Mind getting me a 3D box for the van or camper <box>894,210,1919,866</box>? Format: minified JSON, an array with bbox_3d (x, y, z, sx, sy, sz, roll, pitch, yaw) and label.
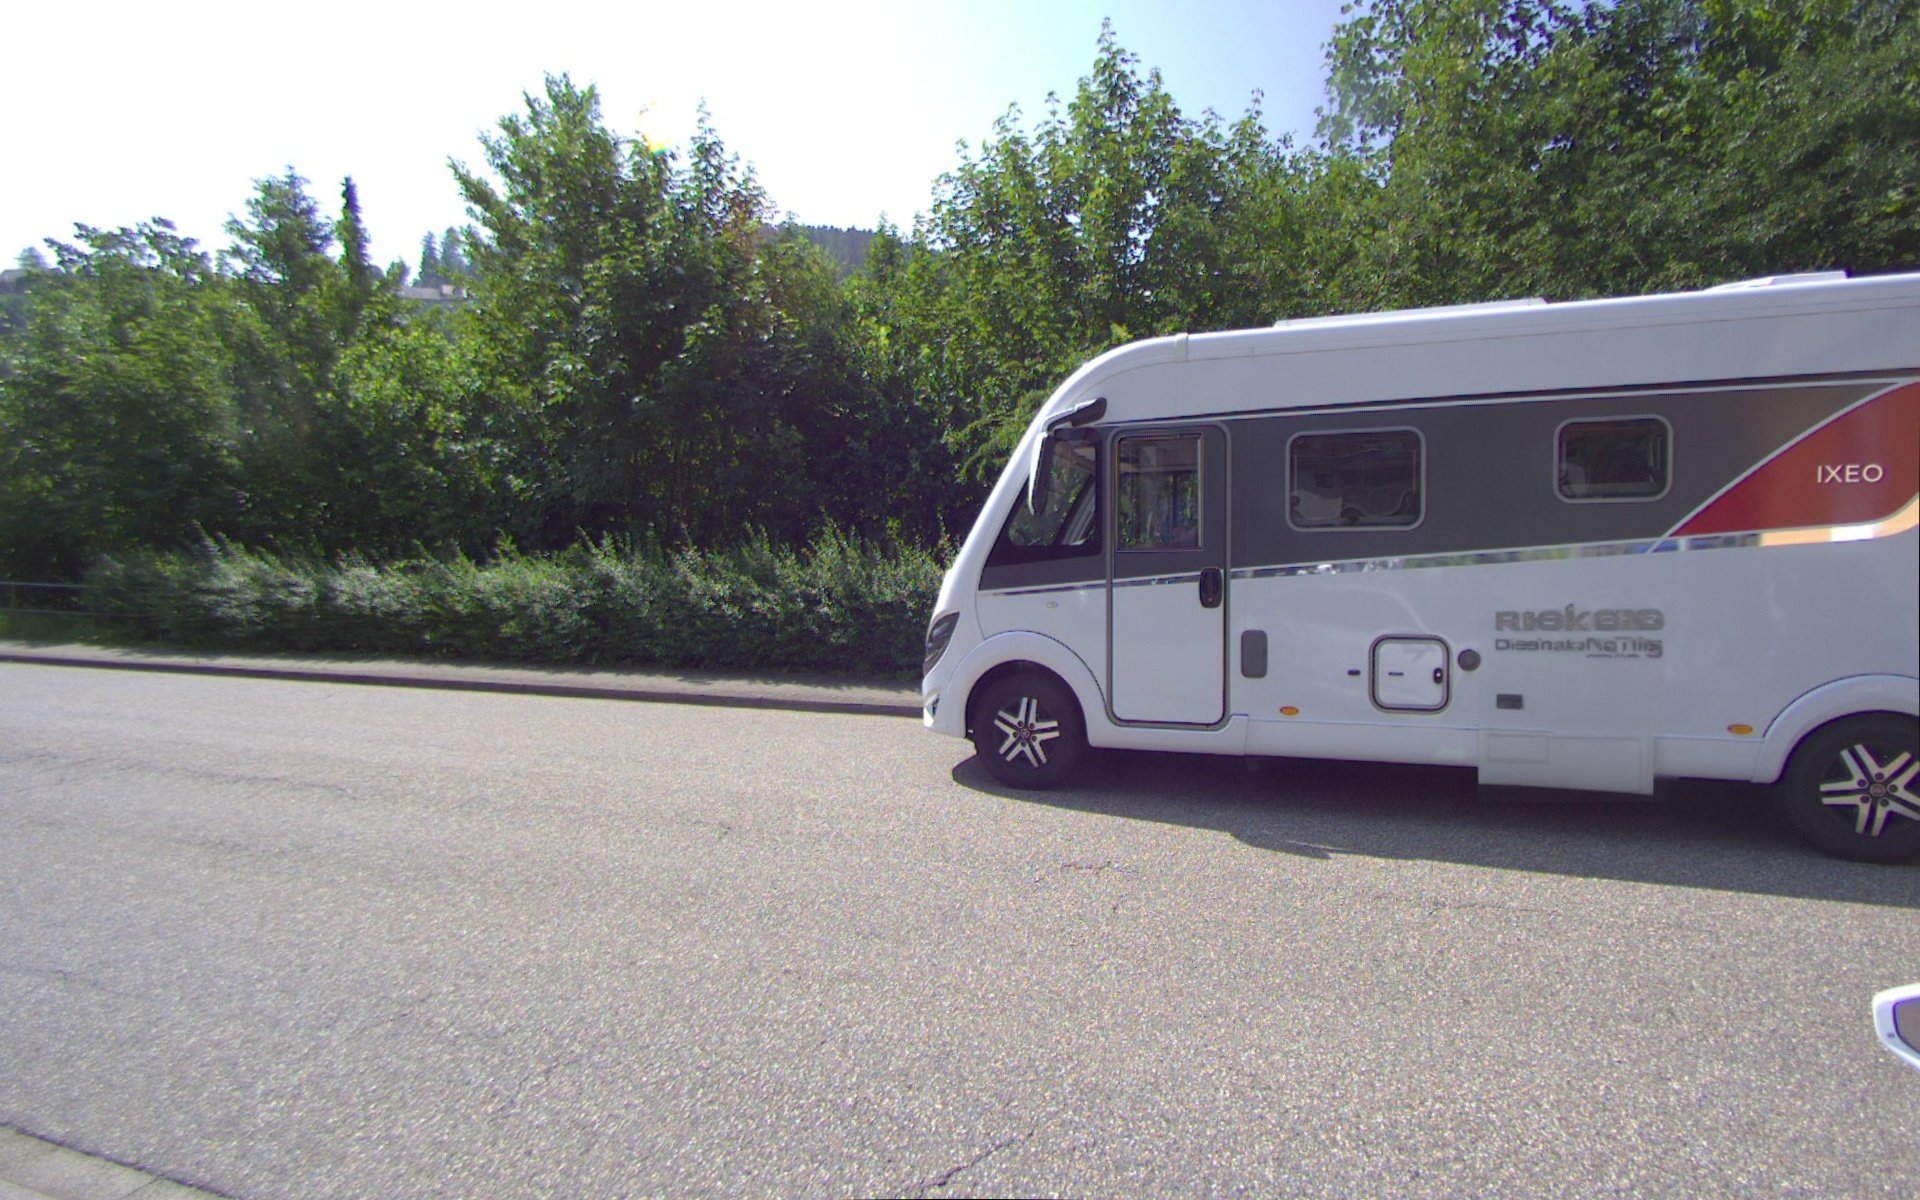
[{"bbox_3d":[3.692,-0.314,6.096,7.892,2.993,2.365,1,2,20],"label":"van or camper"}]
